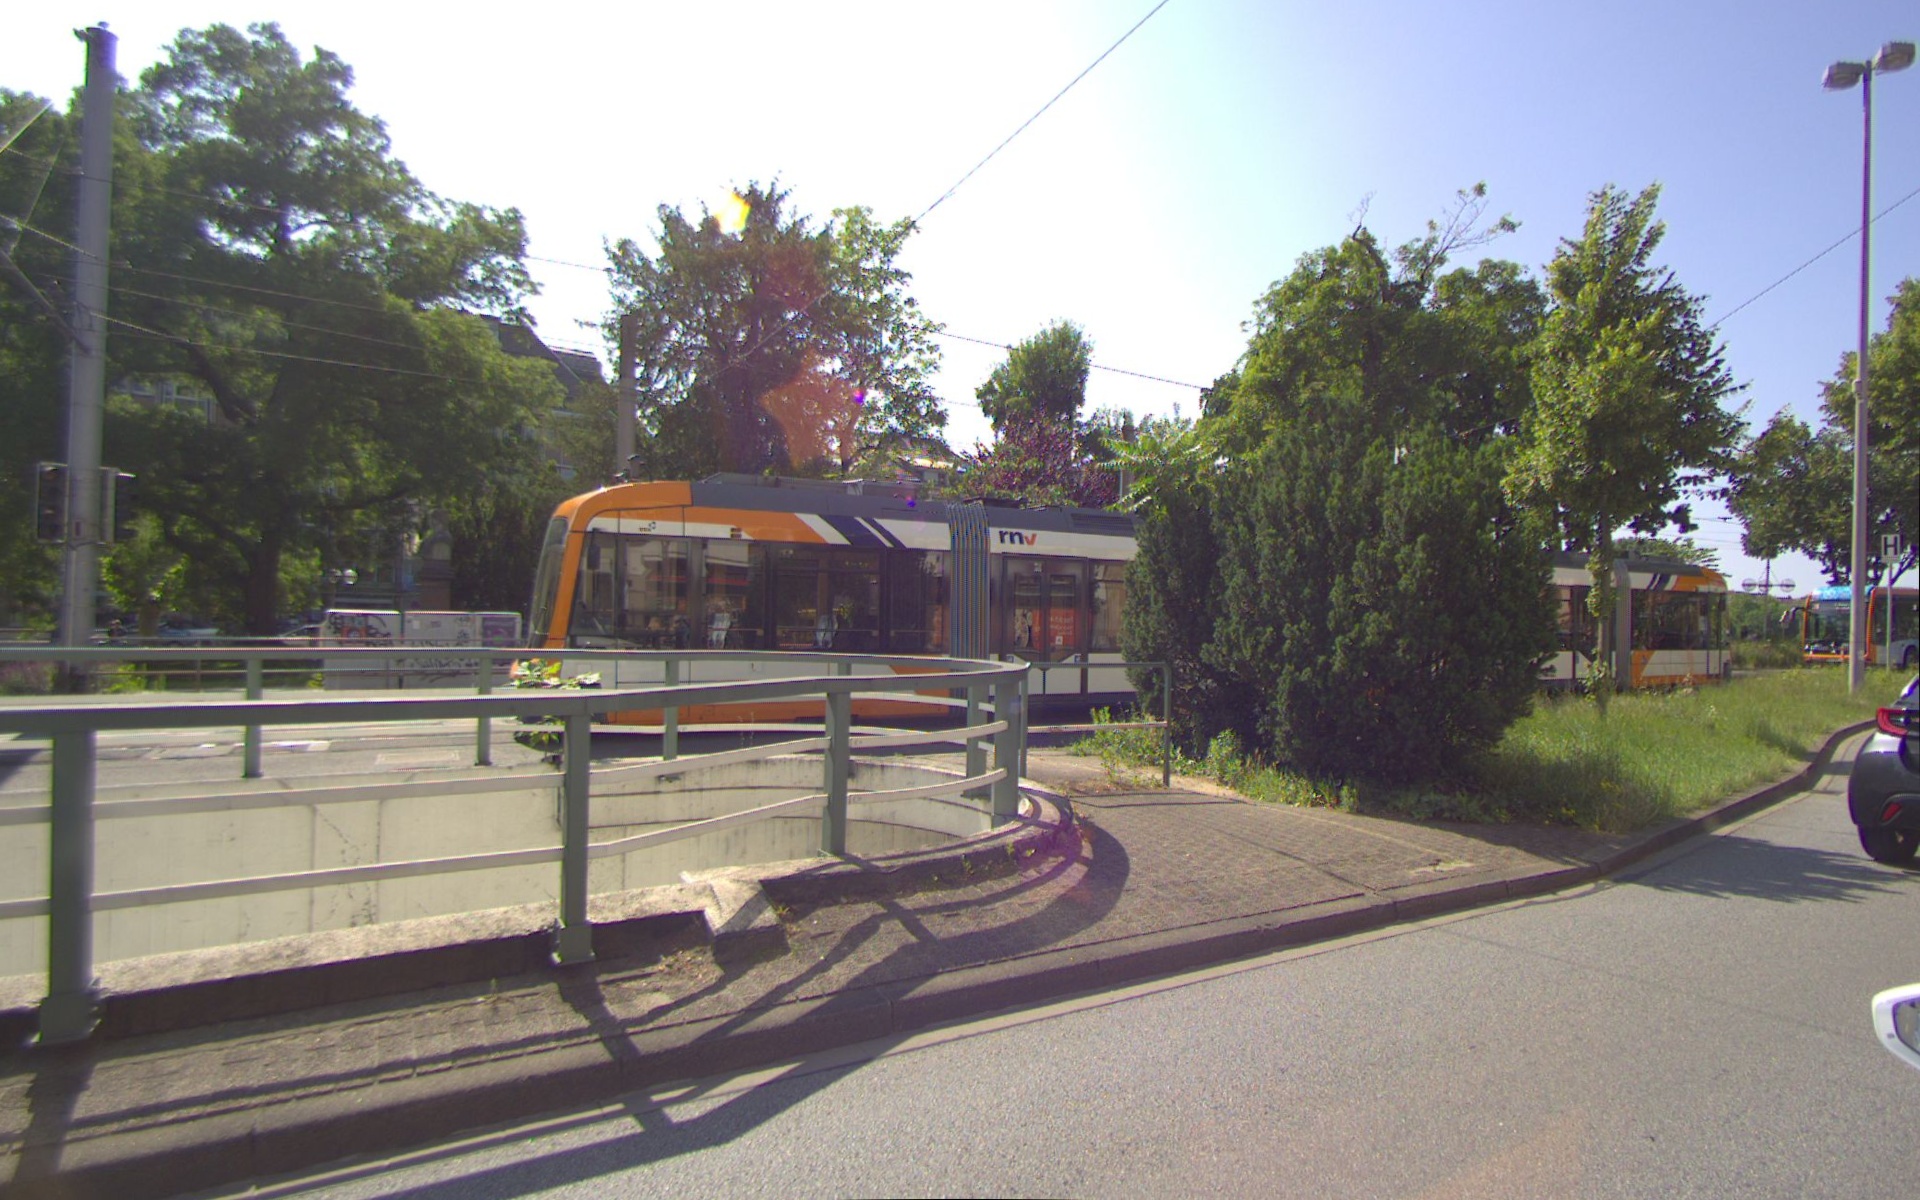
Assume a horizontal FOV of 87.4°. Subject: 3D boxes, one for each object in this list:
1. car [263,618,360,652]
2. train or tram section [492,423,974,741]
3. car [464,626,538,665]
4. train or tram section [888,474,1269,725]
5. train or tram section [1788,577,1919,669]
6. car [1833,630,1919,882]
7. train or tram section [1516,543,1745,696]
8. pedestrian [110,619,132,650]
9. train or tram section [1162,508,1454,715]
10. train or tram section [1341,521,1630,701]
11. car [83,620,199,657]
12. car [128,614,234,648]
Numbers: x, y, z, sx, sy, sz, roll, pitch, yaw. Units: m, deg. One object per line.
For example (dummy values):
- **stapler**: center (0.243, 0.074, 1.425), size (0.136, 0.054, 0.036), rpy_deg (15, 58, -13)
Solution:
- **car**: center (-32.213, 1.745, 49.910), size (3.962, 1.528, 1.743), rpy_deg (2, 1, -36)
- **train or tram section**: center (-3.094, -0.138, 14.123), size (6.033, 3.629, 2.601), rpy_deg (2, 1, -30)
- **car**: center (-26.130, 2.612, 57.160), size (3.601, 2.040, 1.984), rpy_deg (2, 1, -30)
- **train or tram section**: center (2.102, 0.068, 17.181), size (6.033, 3.629, 2.600), rpy_deg (2, 1, -30)
- **train or tram section**: center (40.109, 1.115, 42.973), size (9.884, 3.628, 2.818), rpy_deg (2, -2, -21)
- **car**: center (7.621, 0.984, 6.635), size (3.957, 1.494, 1.767), rpy_deg (2, -3, -33)
- **train or tram section**: center (17.715, 0.522, 26.473), size (5.947, 3.629, 2.600), rpy_deg (2, 1, -30)
- **pedestrian**: center (-35.584, 1.459, 42.607), size (0.655, 1.279, 0.744), rpy_deg (2, -4, -42)
- **train or tram section**: center (6.985, 0.261, 20.085), size (5.295, 3.629, 2.600), rpy_deg (2, 1, -30)
- **train or tram section**: center (12.205, 0.305, 23.183), size (6.818, 3.629, 2.600), rpy_deg (2, 1, -31)
- **car**: center (-37.438, 1.768, 46.065), size (3.962, 1.528, 1.743), rpy_deg (2, 1, -36)
- **car**: center (-37.810, 1.510, 48.864), size (3.962, 1.528, 1.743), rpy_deg (2, 1, -36)
